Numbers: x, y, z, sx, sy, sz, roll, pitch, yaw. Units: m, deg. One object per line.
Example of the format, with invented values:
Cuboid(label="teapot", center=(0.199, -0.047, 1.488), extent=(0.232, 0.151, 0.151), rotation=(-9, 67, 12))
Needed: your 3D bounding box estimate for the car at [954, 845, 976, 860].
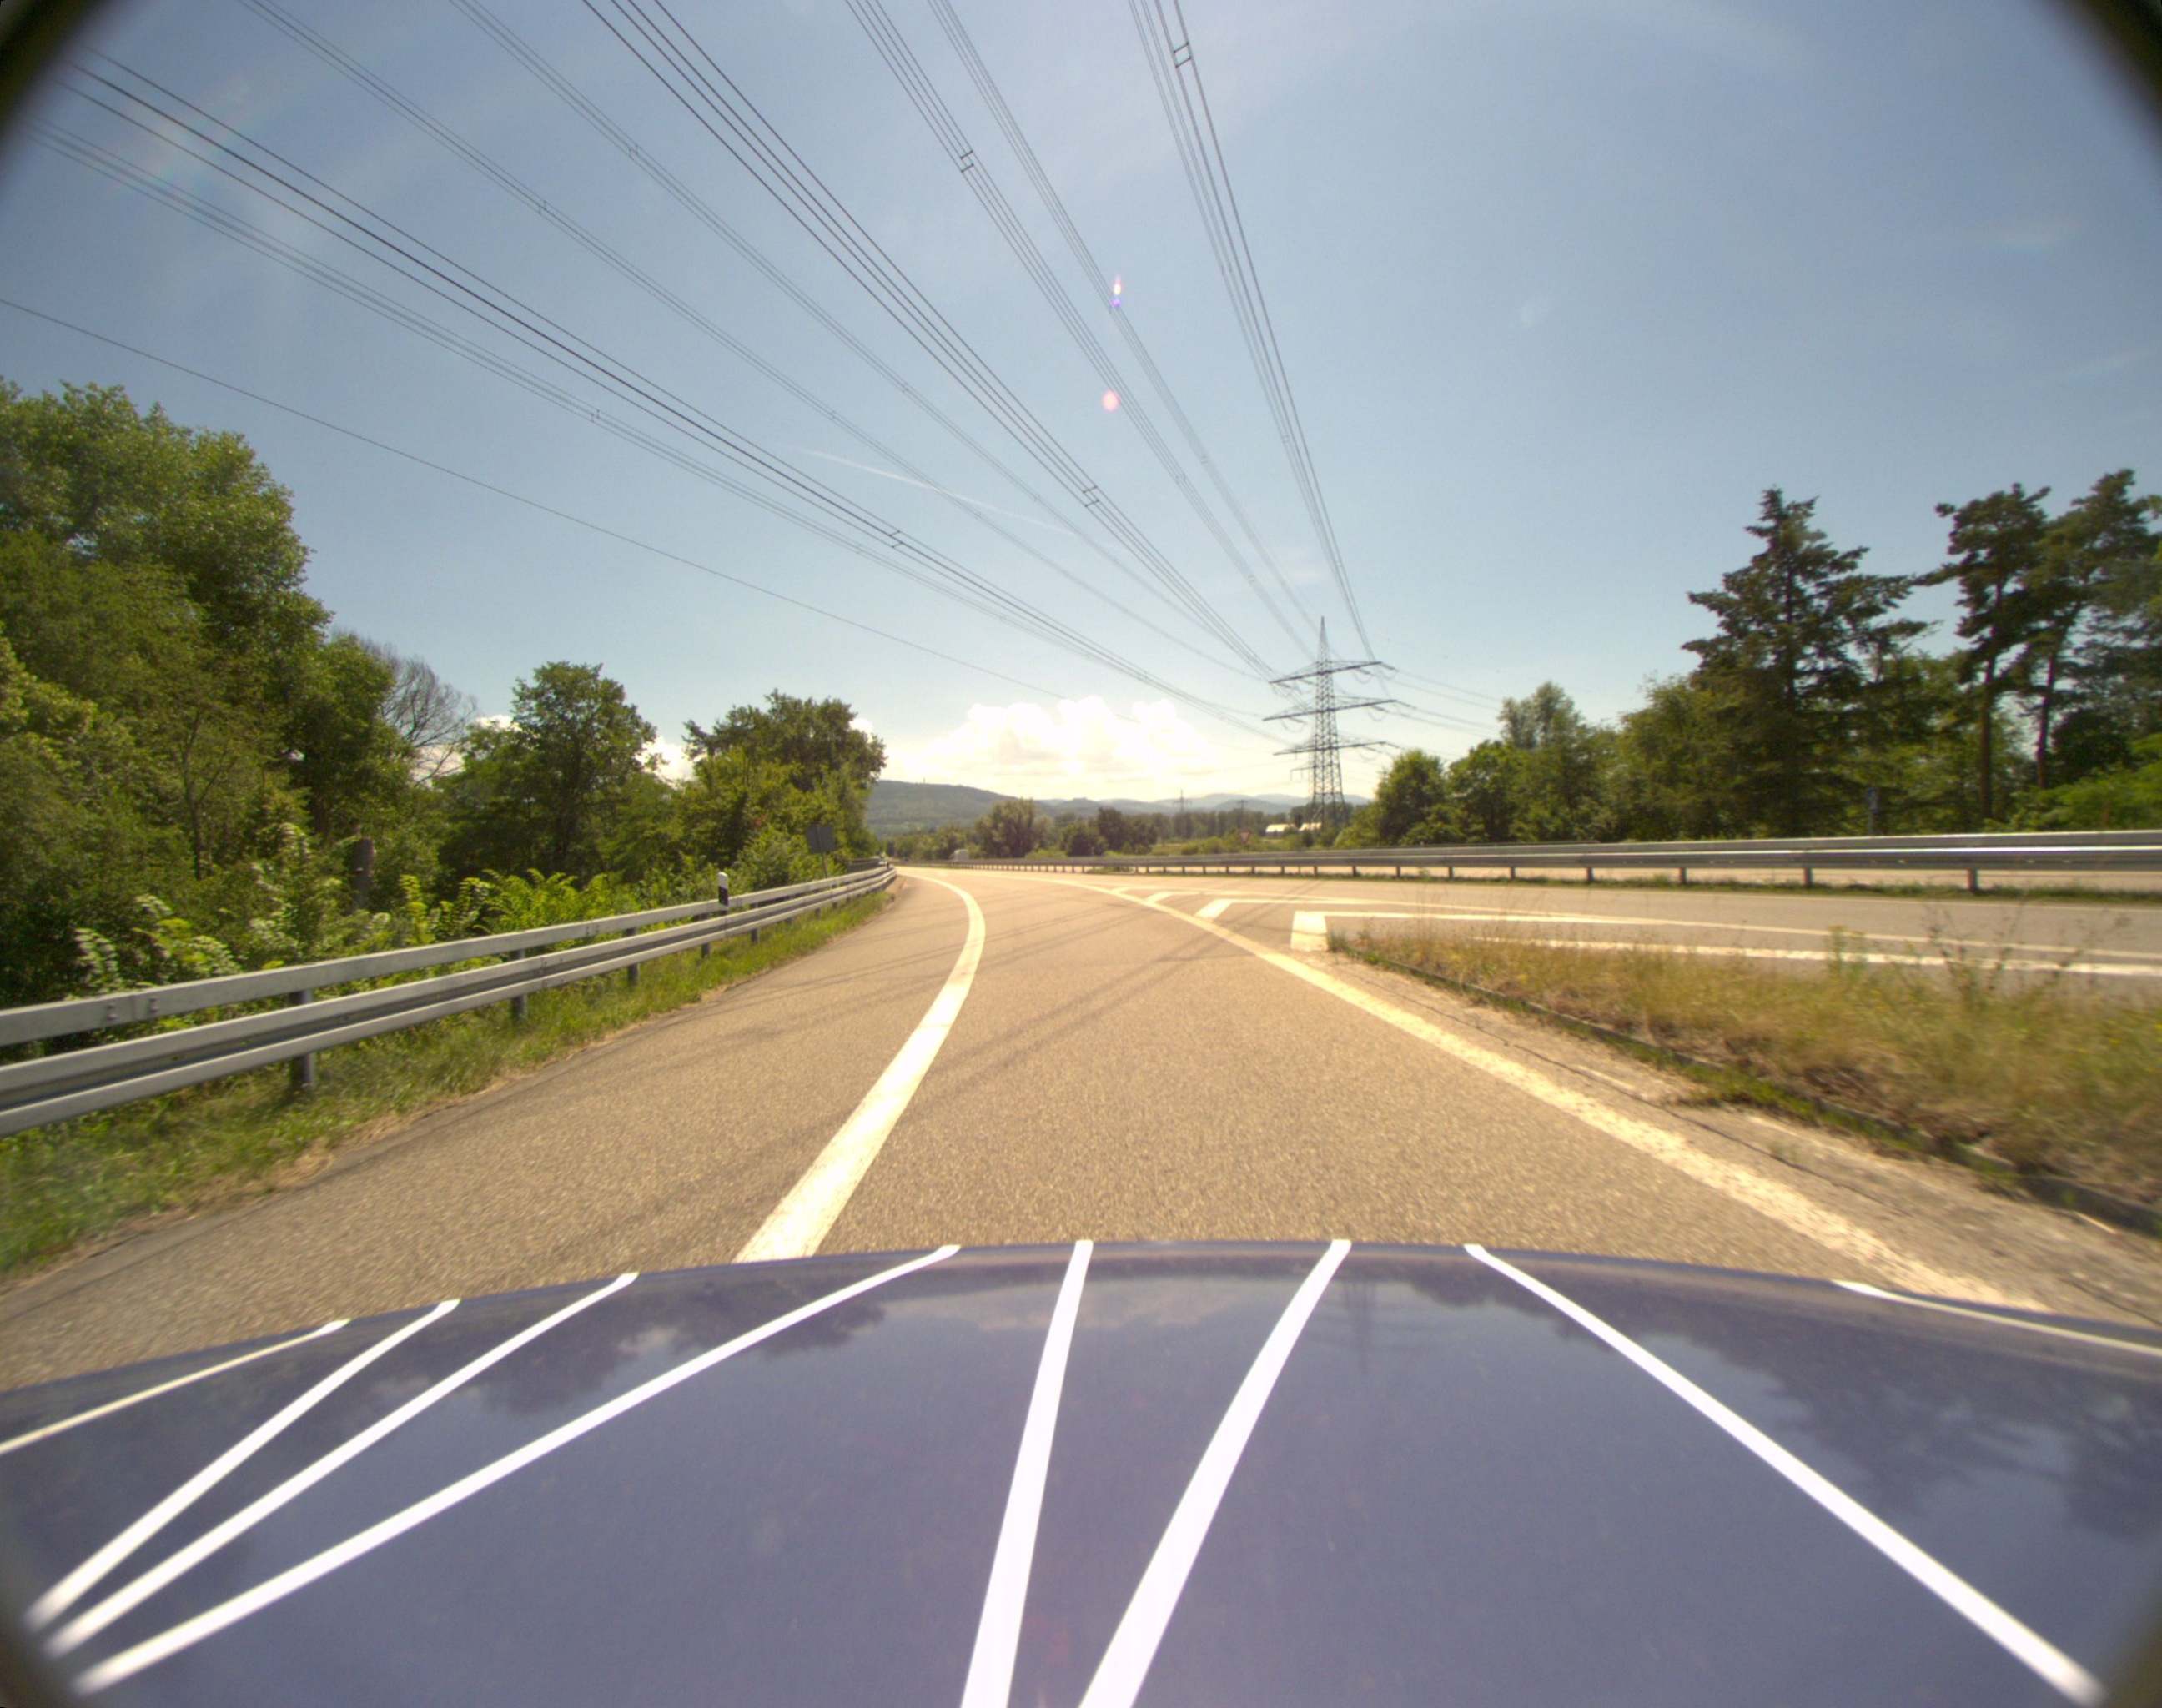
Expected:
Cuboid(label="car", center=(-20.631, -0.285, 134.915), extent=(2.535, 2.603, 7.173), rotation=(0, 0, -19))
